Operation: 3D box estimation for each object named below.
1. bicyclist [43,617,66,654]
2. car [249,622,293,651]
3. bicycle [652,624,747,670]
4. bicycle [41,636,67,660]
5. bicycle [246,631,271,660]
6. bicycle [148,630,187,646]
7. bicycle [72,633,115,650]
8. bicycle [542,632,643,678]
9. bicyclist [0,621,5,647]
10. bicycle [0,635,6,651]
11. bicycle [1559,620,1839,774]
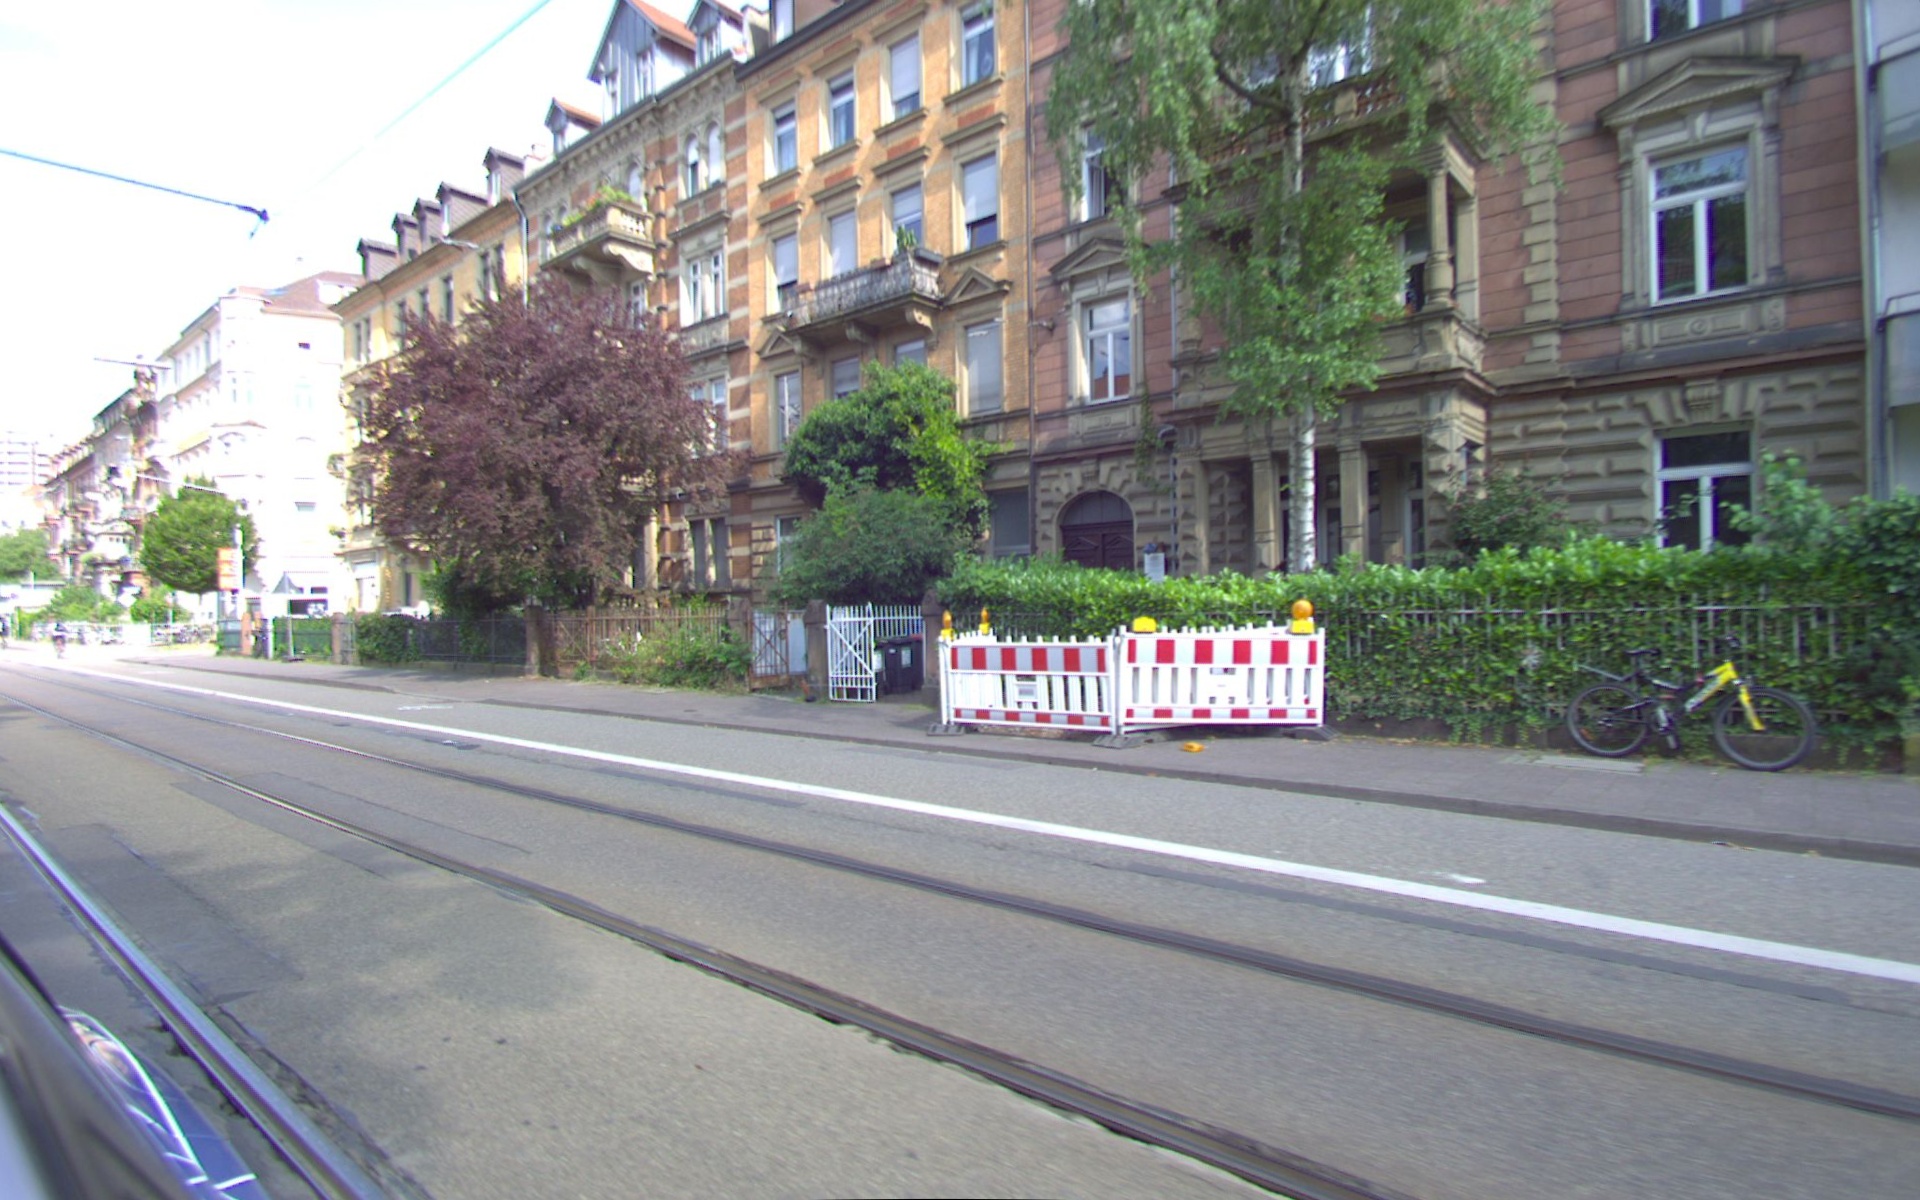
[{"bbox_3d":[-37.526,1.463,41.938,0.605,1.510,0.744,2,-2,-37],"label":"bicyclist"},{"bbox_3d":[-37.620,1.967,55.347,1.751,1.541,3.877,0,-1,-31],"label":"car"},{"bbox_3d":[-5.786,1.024,22.588,0.586,0.944,2.106,-2,-1,40],"label":"bicycle"},{"bbox_3d":[-37.550,1.969,41.954,0.598,0.948,1.758,2,-2,-37],"label":"bicycle"},{"bbox_3d":[-24.479,1.607,35.328,1.472,0.948,0.395,-5,-6,43],"label":"bicycle"},{"bbox_3d":[-47.243,2.255,60.347,0.483,0.948,1.731,-1,-3,40],"label":"bicycle"},{"bbox_3d":[-49.157,2.376,57.426,1.724,0.948,0.485,2,-2,-25],"label":"bicycle"},{"bbox_3d":[-8.176,1.204,22.610,0.586,0.944,2.106,-2,-1,40],"label":"bicycle"},{"bbox_3d":[-56.382,2.000,59.270,0.742,1.510,0.471,-1,-3,38],"label":"bicyclist"},{"bbox_3d":[-56.386,2.511,59.249,1.752,0.948,0.477,-1,-3,38],"label":"bicycle"},{"bbox_3d":[6.047,0.750,8.368,1.818,1.146,0.408,-2,-1,41],"label":"bicycle"}]
